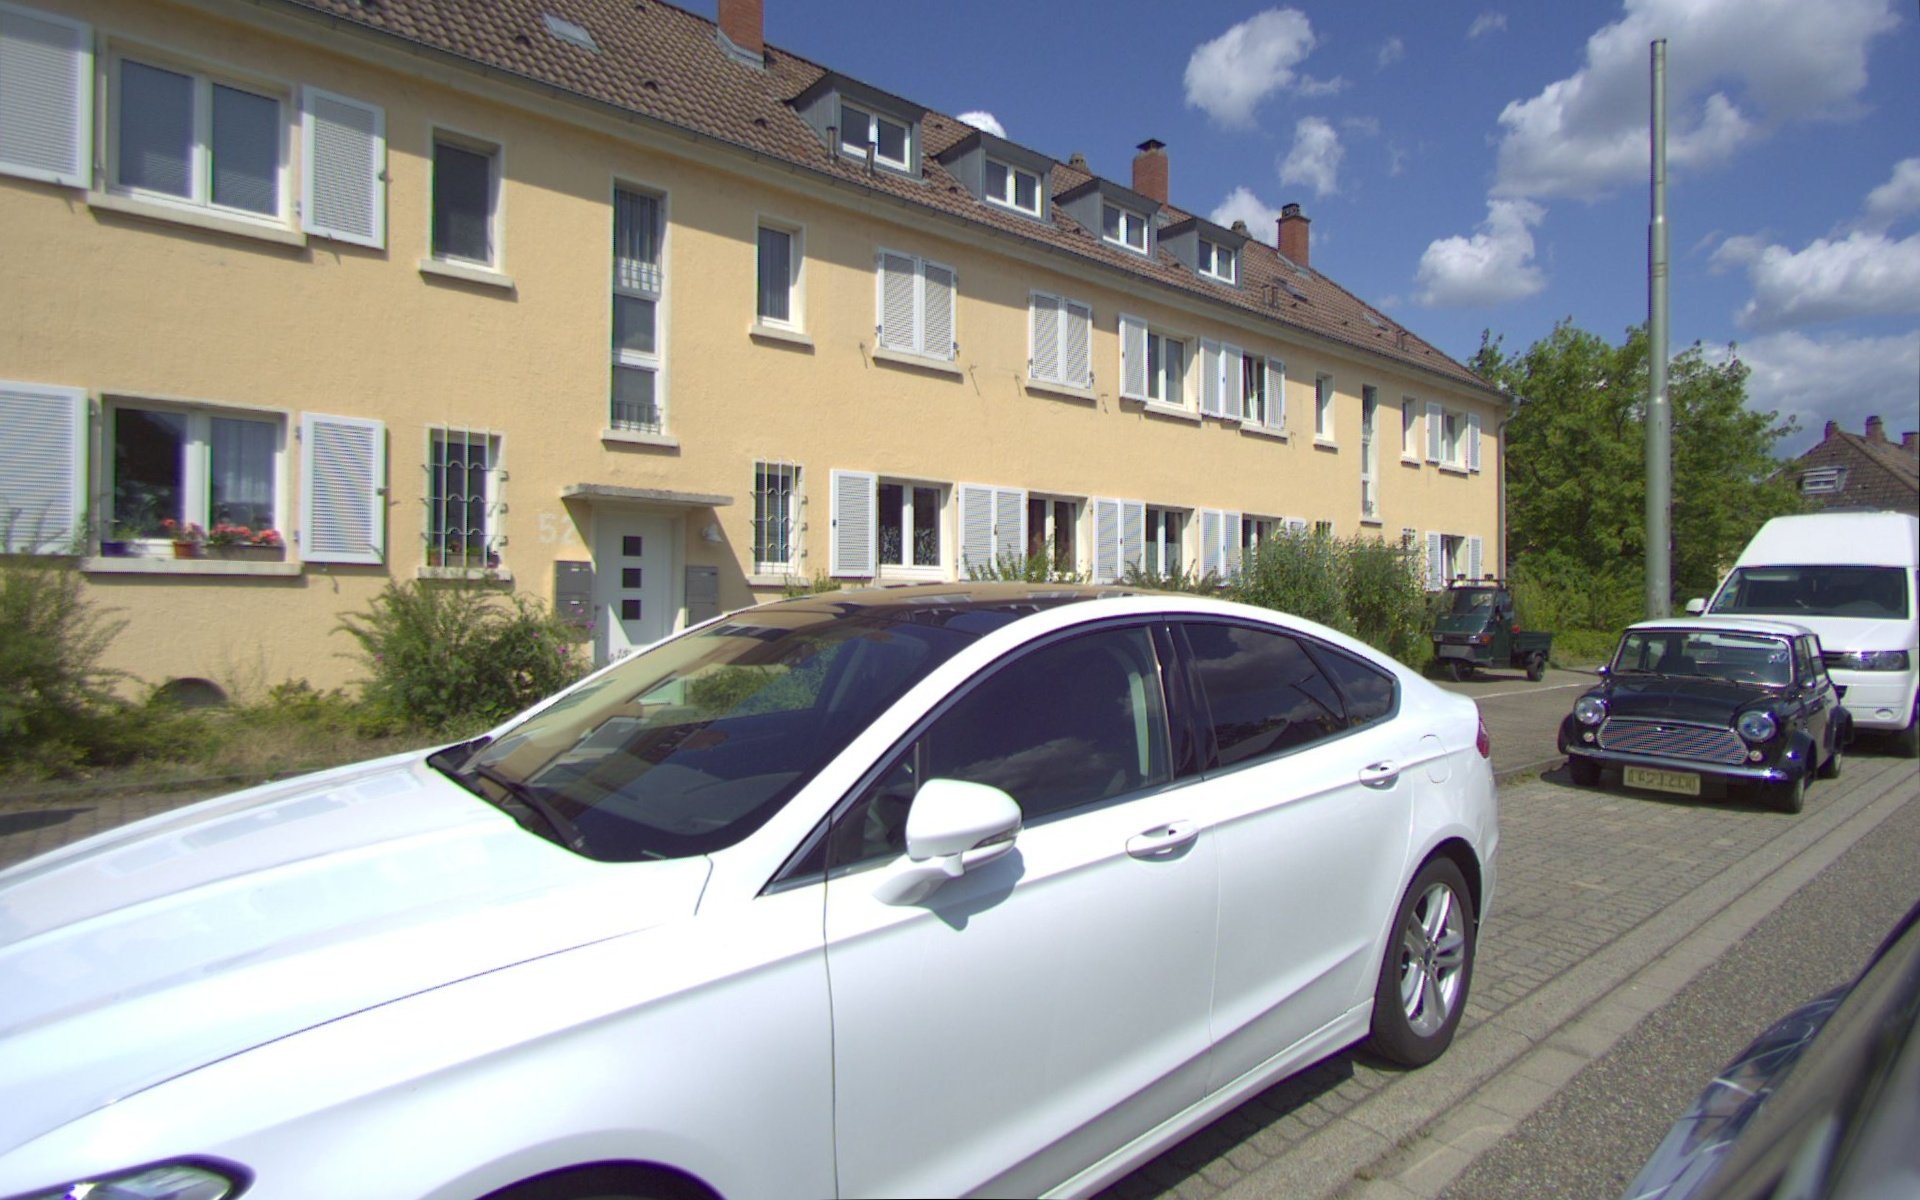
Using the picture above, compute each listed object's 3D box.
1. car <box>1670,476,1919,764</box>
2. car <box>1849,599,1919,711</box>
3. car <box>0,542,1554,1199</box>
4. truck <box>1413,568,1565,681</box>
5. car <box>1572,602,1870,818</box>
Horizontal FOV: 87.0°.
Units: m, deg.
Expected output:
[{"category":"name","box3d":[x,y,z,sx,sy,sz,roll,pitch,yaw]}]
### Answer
[{"category":"car","box3d":[9.925,0.161,11.201,5.417,2.512,1.934,0,0,-39]},{"category":"car","box3d":[14.122,0.728,14.374,3.668,1.464,1.540,0,-1,-37]},{"category":"car","box3d":[-0.169,0.641,2.772,4.684,1.476,1.801,-1,2,-43]},{"category":"truck","box3d":[8.731,0.365,16.674,2.396,1.710,1.349,0,0,-38]},{"category":"car","box3d":[6.211,0.716,8.149,3.232,1.357,1.342,-1,0,-43]}]
